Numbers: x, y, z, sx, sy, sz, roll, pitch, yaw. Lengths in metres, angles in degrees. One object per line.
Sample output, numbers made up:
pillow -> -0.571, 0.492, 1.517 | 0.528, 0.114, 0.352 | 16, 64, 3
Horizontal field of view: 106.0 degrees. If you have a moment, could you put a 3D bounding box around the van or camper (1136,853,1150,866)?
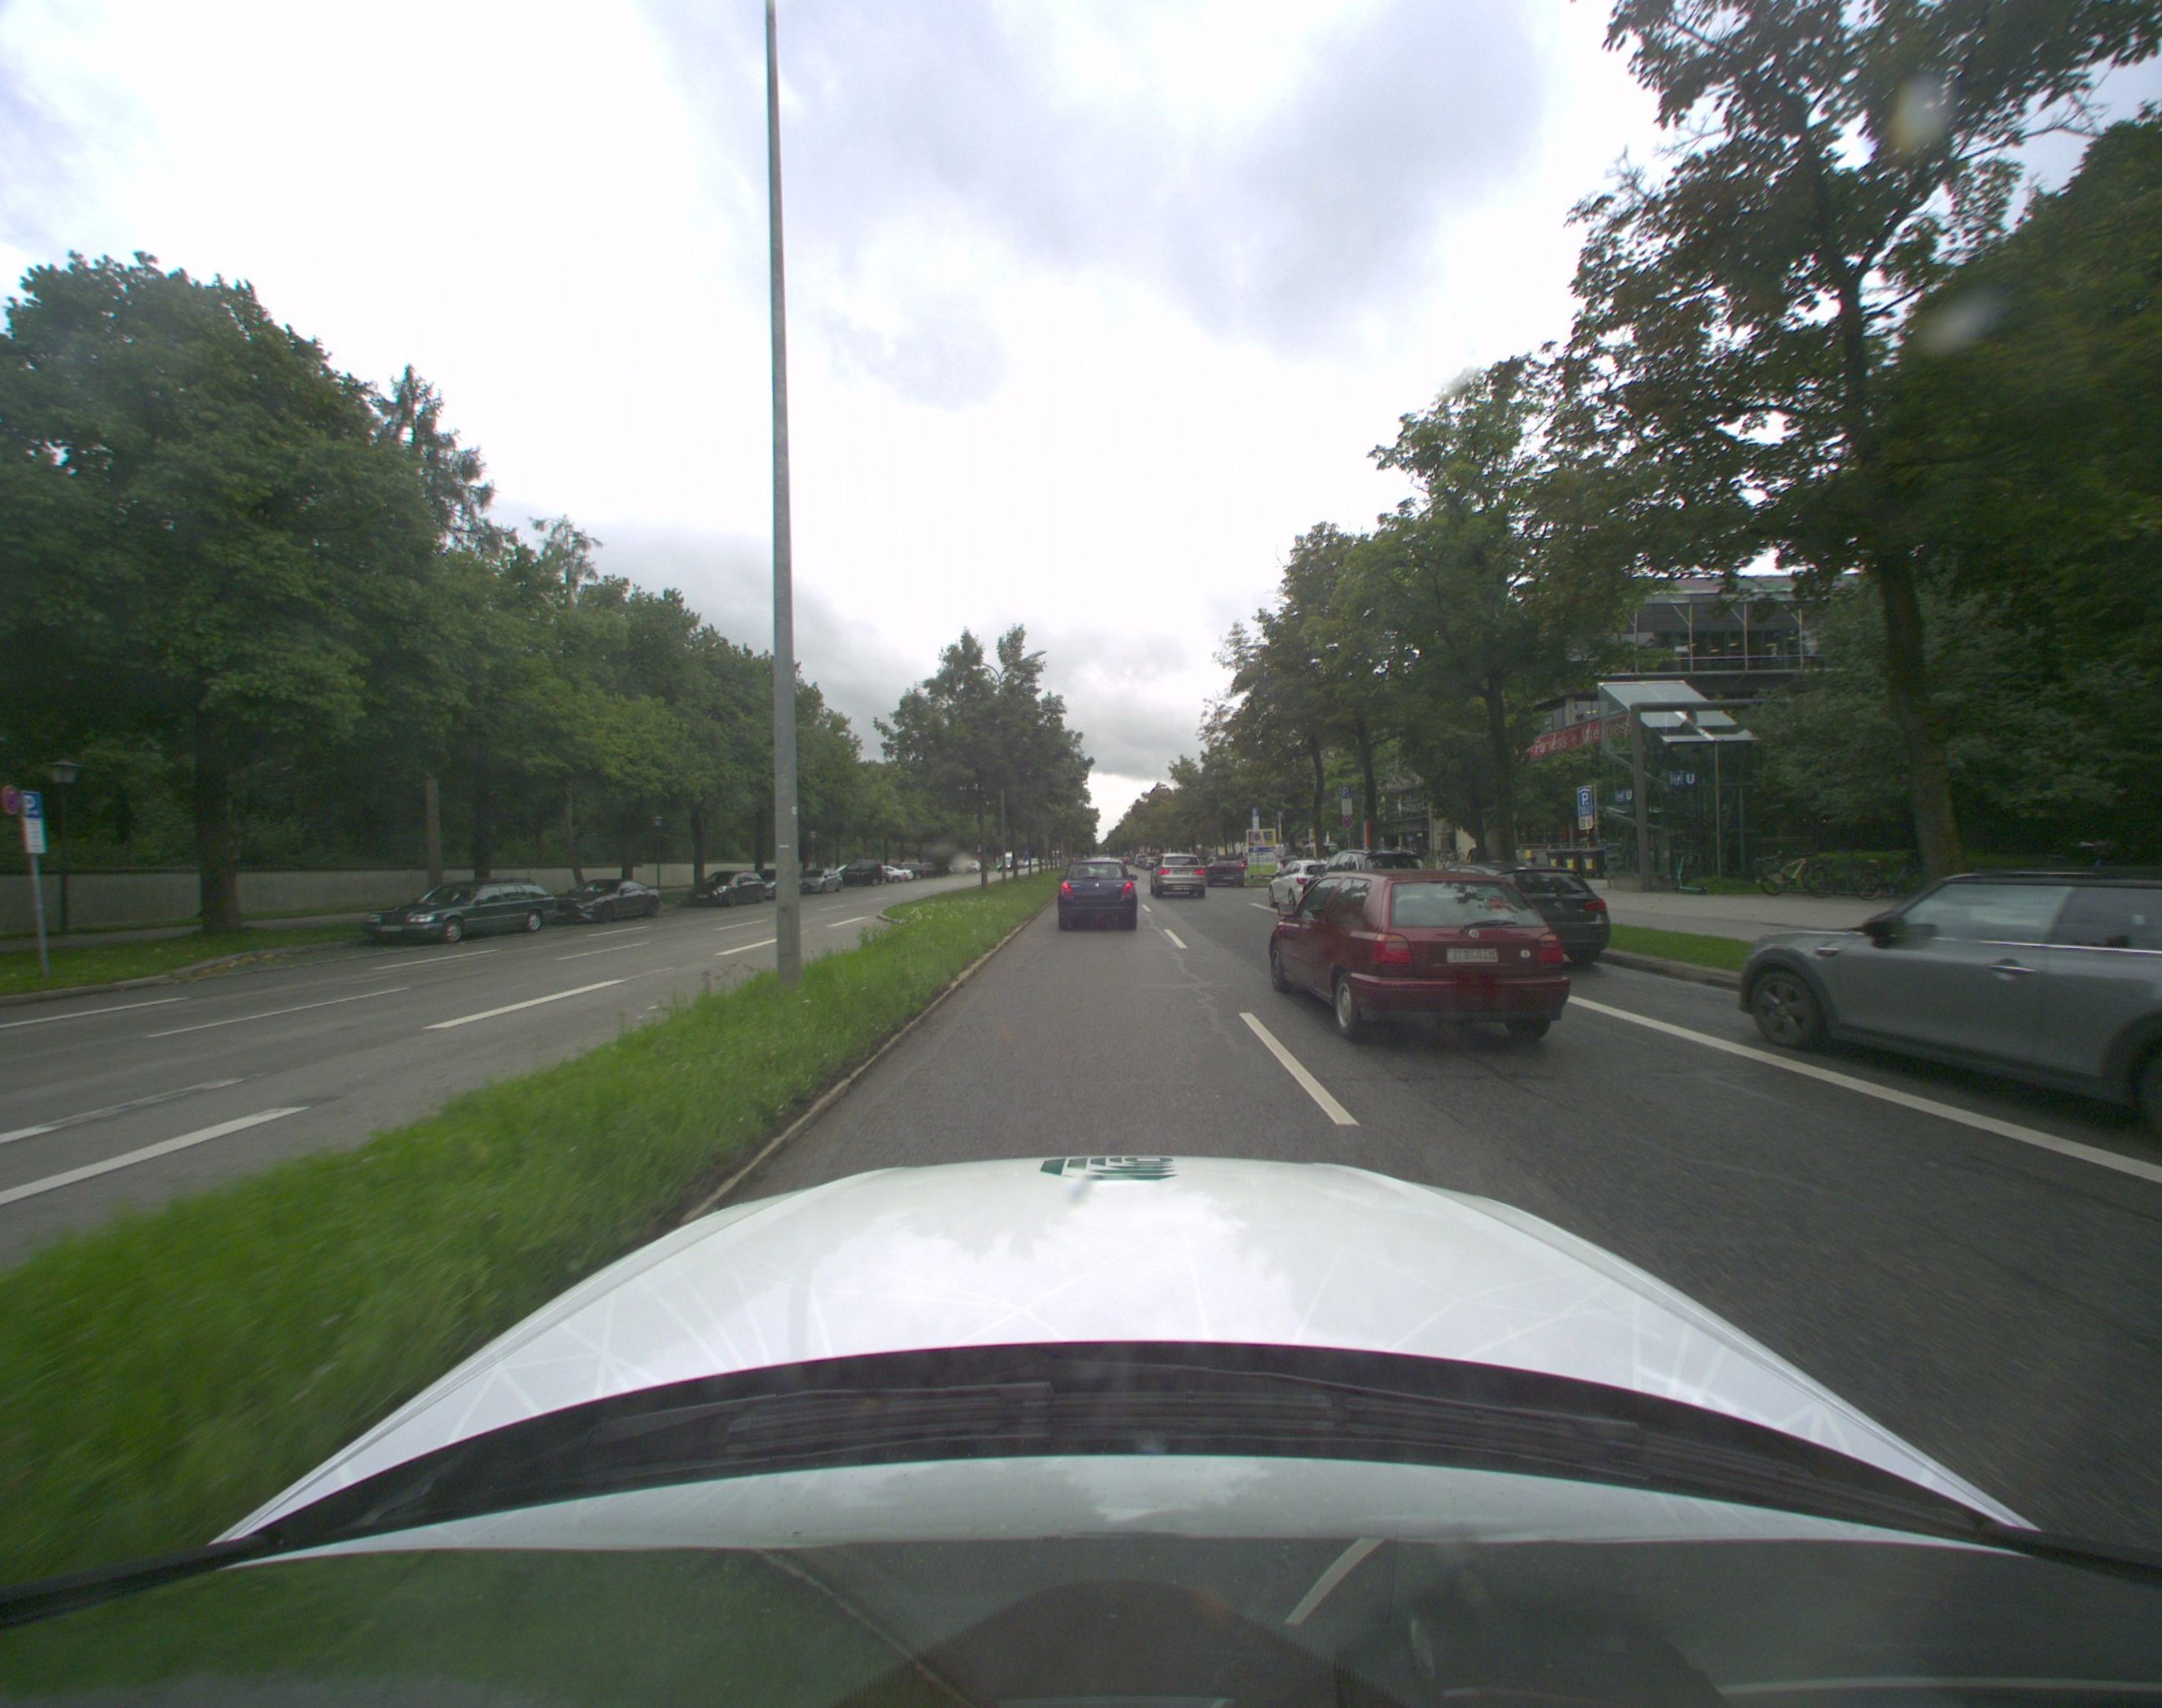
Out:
van or camper -> 9.278, 0.807, 122.023 | 1.937, 1.975, 4.308 | -1, 0, 2

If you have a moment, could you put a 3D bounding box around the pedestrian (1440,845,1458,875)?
pedestrian -> 21.626, 0.332, 47.875 | 0.536, 1.721, 0.988 | -3, -1, 1

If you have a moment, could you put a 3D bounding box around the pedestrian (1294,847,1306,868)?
pedestrian -> 20.208, 0.321, 75.248 | 0.872, 1.851, 0.903 | 0, 0, 0

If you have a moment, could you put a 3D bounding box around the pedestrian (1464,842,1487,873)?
pedestrian -> 22.684, 0.211, 46.833 | 0.825, 1.721, 0.940 | -3, -1, 1

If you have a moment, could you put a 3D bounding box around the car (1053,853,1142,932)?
car -> 0.331, 0.795, 18.580 | 1.783, 1.555, 3.999 | -1, 0, 0

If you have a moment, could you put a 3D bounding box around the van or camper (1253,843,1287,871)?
van or camper -> 18.147, 0.296, 78.368 | 2.016, 2.558, 5.958 | -2, 0, 2

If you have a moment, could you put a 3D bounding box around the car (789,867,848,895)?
car -> -15.160, 1.529, 47.277 | 1.629, 1.439, 4.811 | 0, 0, 2

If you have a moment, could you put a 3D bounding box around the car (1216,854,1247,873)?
car -> 12.010, 0.739, 65.140 | 1.742, 1.479, 4.008 | -1, 0, 0

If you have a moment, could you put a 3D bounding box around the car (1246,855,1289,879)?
car -> 11.926, 0.808, 52.351 | 1.758, 1.488, 3.998 | 0, 0, -1

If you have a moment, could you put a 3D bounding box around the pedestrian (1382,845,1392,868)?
pedestrian -> 24.026, 0.180, 63.921 | 0.572, 1.751, 0.733 | -1, -1, 6

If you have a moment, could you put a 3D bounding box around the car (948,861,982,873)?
car -> -15.533, 1.743, 109.048 | 4.122, 1.585, 1.900 | -1, 0, -32

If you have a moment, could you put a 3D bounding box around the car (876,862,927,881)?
car -> -16.287, 1.605, 74.033 | 4.127, 1.597, 1.897 | -1, 0, -38

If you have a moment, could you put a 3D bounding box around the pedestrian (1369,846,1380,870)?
pedestrian -> 21.404, 0.276, 59.344 | 0.572, 1.751, 0.733 | -1, -1, 6

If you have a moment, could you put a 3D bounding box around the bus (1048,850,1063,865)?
bus -> -6.299, 0.885, 201.378 | 2.728, 3.377, 12.018 | -3, 0, 2

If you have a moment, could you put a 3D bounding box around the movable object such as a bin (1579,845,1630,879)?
movable object such as a bin -> 22.587, 0.344, 35.188 | 1.332, 1.409, 1.314 | -1, 0, -1

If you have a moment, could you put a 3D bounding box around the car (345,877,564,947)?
car -> -15.938, 1.399, 21.158 | 1.793, 1.490, 4.916 | 0, 0, 1

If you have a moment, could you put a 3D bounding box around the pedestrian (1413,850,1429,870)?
pedestrian -> 23.095, 0.434, 55.309 | 0.731, 1.291, 0.697 | -4, -1, -4

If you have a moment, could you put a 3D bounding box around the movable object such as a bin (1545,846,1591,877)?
movable object such as a bin -> 22.619, 0.354, 37.886 | 1.332, 1.409, 1.314 | -1, 0, -1

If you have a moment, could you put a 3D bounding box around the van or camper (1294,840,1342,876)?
van or camper -> 17.859, 0.308, 61.662 | 1.986, 2.558, 5.958 | -2, 0, 2

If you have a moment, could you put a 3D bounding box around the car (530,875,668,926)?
car -> -15.674, 1.462, 26.843 | 1.653, 1.396, 4.708 | 0, 0, 1

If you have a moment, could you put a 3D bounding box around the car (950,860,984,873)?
car -> -15.678, 1.730, 112.075 | 4.122, 1.652, 1.900 | -1, 0, -32

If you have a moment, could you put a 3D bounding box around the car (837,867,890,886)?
car -> -16.450, 1.692, 61.676 | 3.590, 1.354, 1.737 | -1, 0, -29

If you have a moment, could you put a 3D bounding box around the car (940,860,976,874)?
car -> -15.895, 1.676, 105.165 | 4.122, 1.695, 1.900 | -1, 0, -32

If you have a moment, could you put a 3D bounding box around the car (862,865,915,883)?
car -> -16.174, 1.657, 68.493 | 4.059, 1.381, 1.657 | -1, 0, -34

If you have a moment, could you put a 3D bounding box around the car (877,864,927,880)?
car -> -16.913, 1.714, 77.030 | 4.217, 1.322, 1.900 | -1, 0, -32

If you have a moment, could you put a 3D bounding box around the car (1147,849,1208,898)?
car -> 3.675, 0.706, 31.613 | 1.844, 1.743, 4.096 | -1, 0, 0

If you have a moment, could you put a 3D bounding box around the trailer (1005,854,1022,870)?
trailer -> -11.242, 1.268, 136.103 | 2.098, 2.540, 5.578 | -2, 0, 2

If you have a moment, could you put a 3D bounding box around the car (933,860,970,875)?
car -> -16.179, 1.678, 102.060 | 4.122, 1.695, 1.900 | -1, 0, -32

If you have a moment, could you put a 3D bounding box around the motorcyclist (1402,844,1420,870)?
motorcyclist -> 23.114, 0.224, 57.019 | 0.688, 1.737, 0.953 | -6, -1, 1

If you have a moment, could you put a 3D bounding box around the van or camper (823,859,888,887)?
van or camper -> -16.247, 1.375, 58.698 | 4.146, 1.854, 1.829 | -1, -1, -40

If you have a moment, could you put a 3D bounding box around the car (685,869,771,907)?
car -> -15.270, 1.432, 35.488 | 1.563, 1.503, 4.309 | 0, 0, 5

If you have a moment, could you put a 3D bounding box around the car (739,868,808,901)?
car -> -15.346, 1.494, 40.905 | 1.581, 1.459, 4.798 | 0, 0, 0

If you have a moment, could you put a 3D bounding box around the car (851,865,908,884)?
car -> -16.160, 1.605, 65.272 | 4.015, 1.354, 1.831 | -1, 0, -34

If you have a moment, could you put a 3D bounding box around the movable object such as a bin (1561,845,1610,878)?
movable object such as a bin -> 22.607, 0.349, 36.535 | 1.332, 1.409, 1.314 | -1, 0, -1
